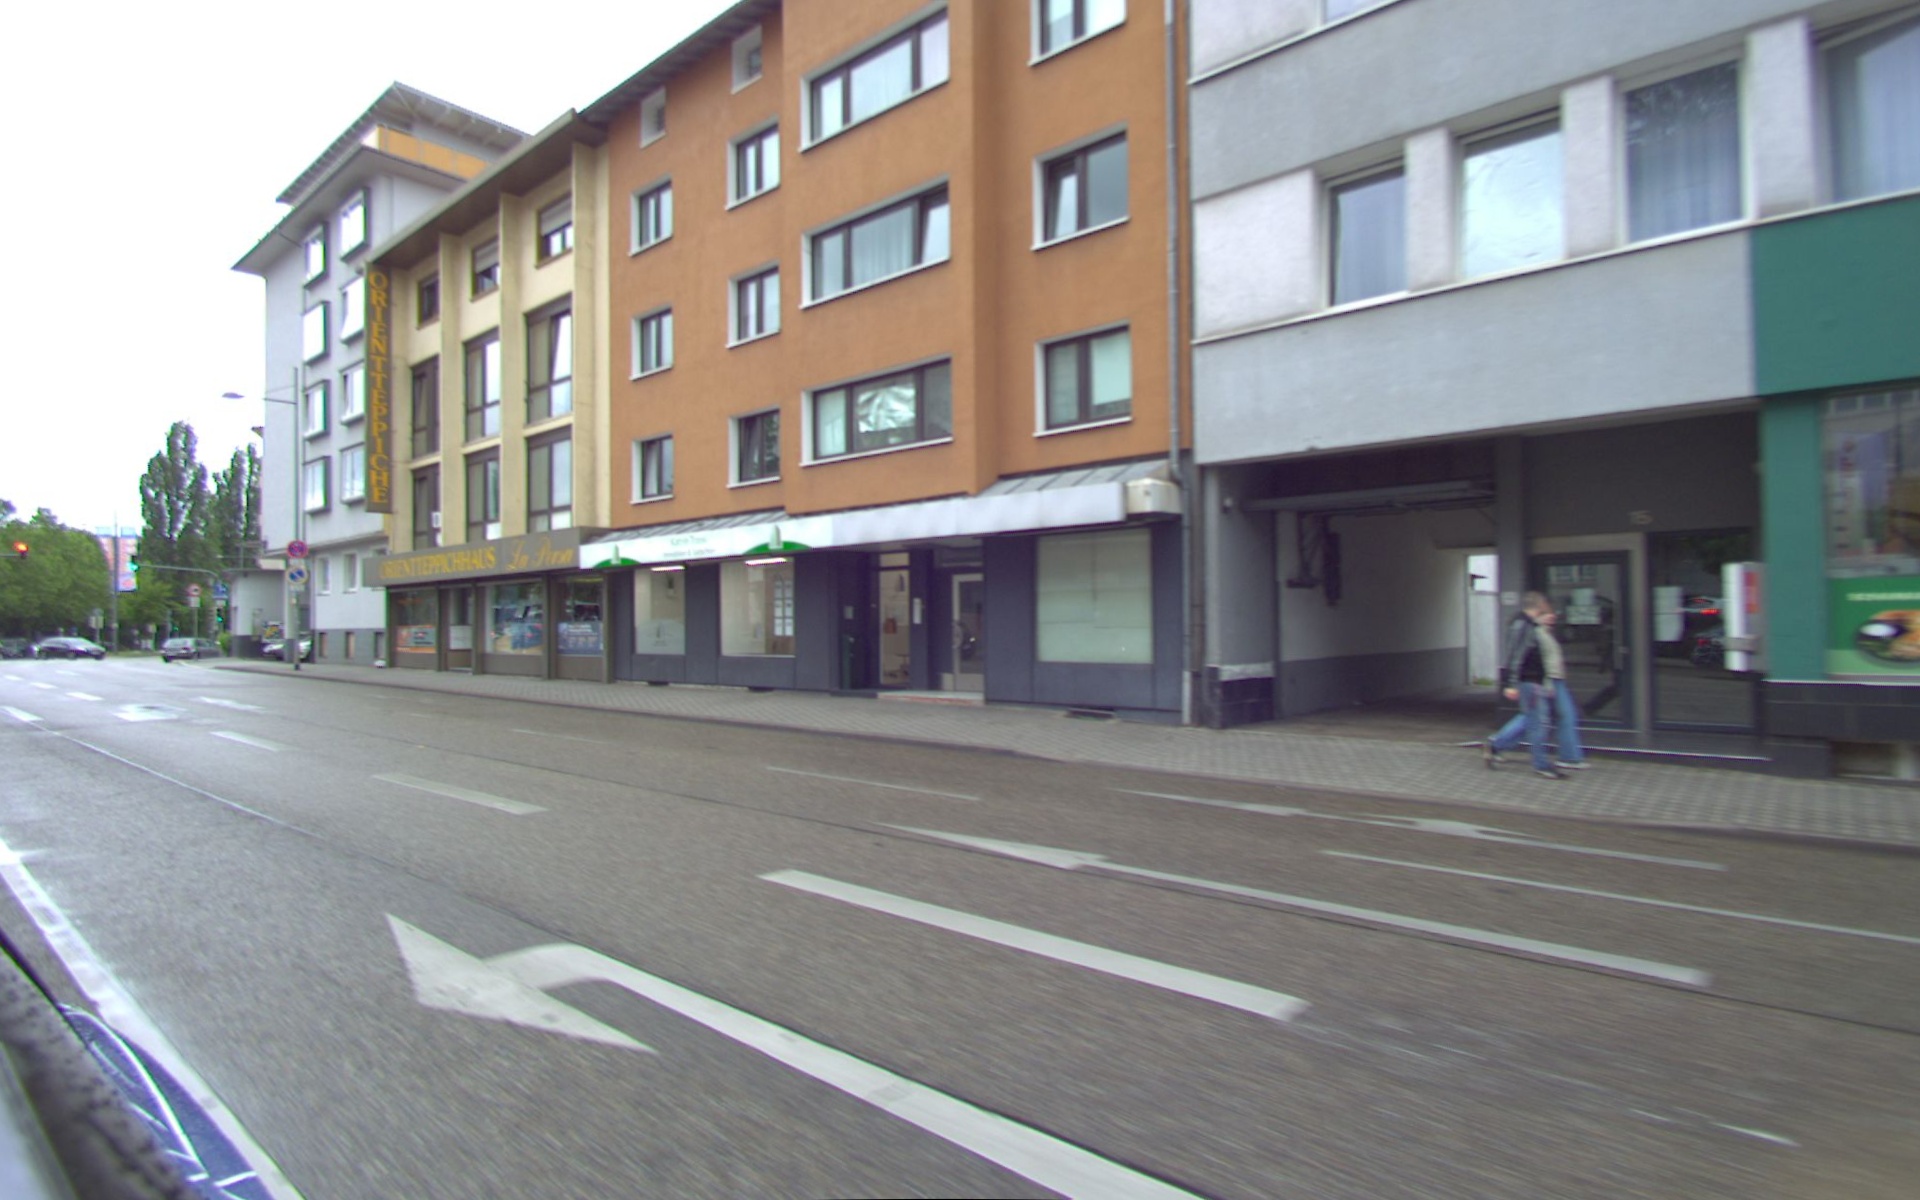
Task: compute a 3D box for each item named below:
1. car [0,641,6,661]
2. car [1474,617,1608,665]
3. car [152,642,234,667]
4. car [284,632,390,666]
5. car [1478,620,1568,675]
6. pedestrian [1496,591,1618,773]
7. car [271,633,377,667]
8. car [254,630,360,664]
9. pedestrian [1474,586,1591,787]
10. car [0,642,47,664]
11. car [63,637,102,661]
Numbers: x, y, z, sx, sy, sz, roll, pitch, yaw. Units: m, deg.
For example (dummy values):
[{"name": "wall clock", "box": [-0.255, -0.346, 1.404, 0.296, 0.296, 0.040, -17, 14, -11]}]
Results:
[{"name": "car", "box": [-74.076, 3.807, 75.974, 1.865, 1.500, 4.374, 2, -3, -18]}, {"name": "car", "box": [18.888, 1.326, 33.111, 1.803, 1.456, 4.004, 0, -2, -5]}, {"name": "car", "box": [-44.974, 3.214, 59.464, 1.710, 1.377, 4.110, -1, -3, 0]}, {"name": "car", "box": [-26.878, 2.135, 43.756, 1.494, 1.348, 3.586, -2, -5, 39]}, {"name": "car", "box": [15.898, 1.328, 28.773, 1.819, 1.456, 3.968, -1, -2, 23]}, {"name": "pedestrian", "box": [5.957, 0.784, 10.100, 0.908, 1.687, 0.623, -2, 2, 41]}, {"name": "car", "box": [-28.794, 2.289, 45.914, 1.637, 1.431, 3.716, -2, -5, 42]}, {"name": "car", "box": [-30.514, 2.221, 47.336, 1.797, 1.431, 3.772, 0, -4, 42]}, {"name": "pedestrian", "box": [5.469, 0.790, 9.678, 0.826, 1.801, 0.569, -1, 2, 42]}, {"name": "car", "box": [-94.009, 5.280, 100.264, 4.768, 1.957, 1.957, -3, -1, -19]}, {"name": "car", "box": [-56.660, 3.158, 65.306, 1.777, 1.445, 4.401, -1, -2, -42]}]
